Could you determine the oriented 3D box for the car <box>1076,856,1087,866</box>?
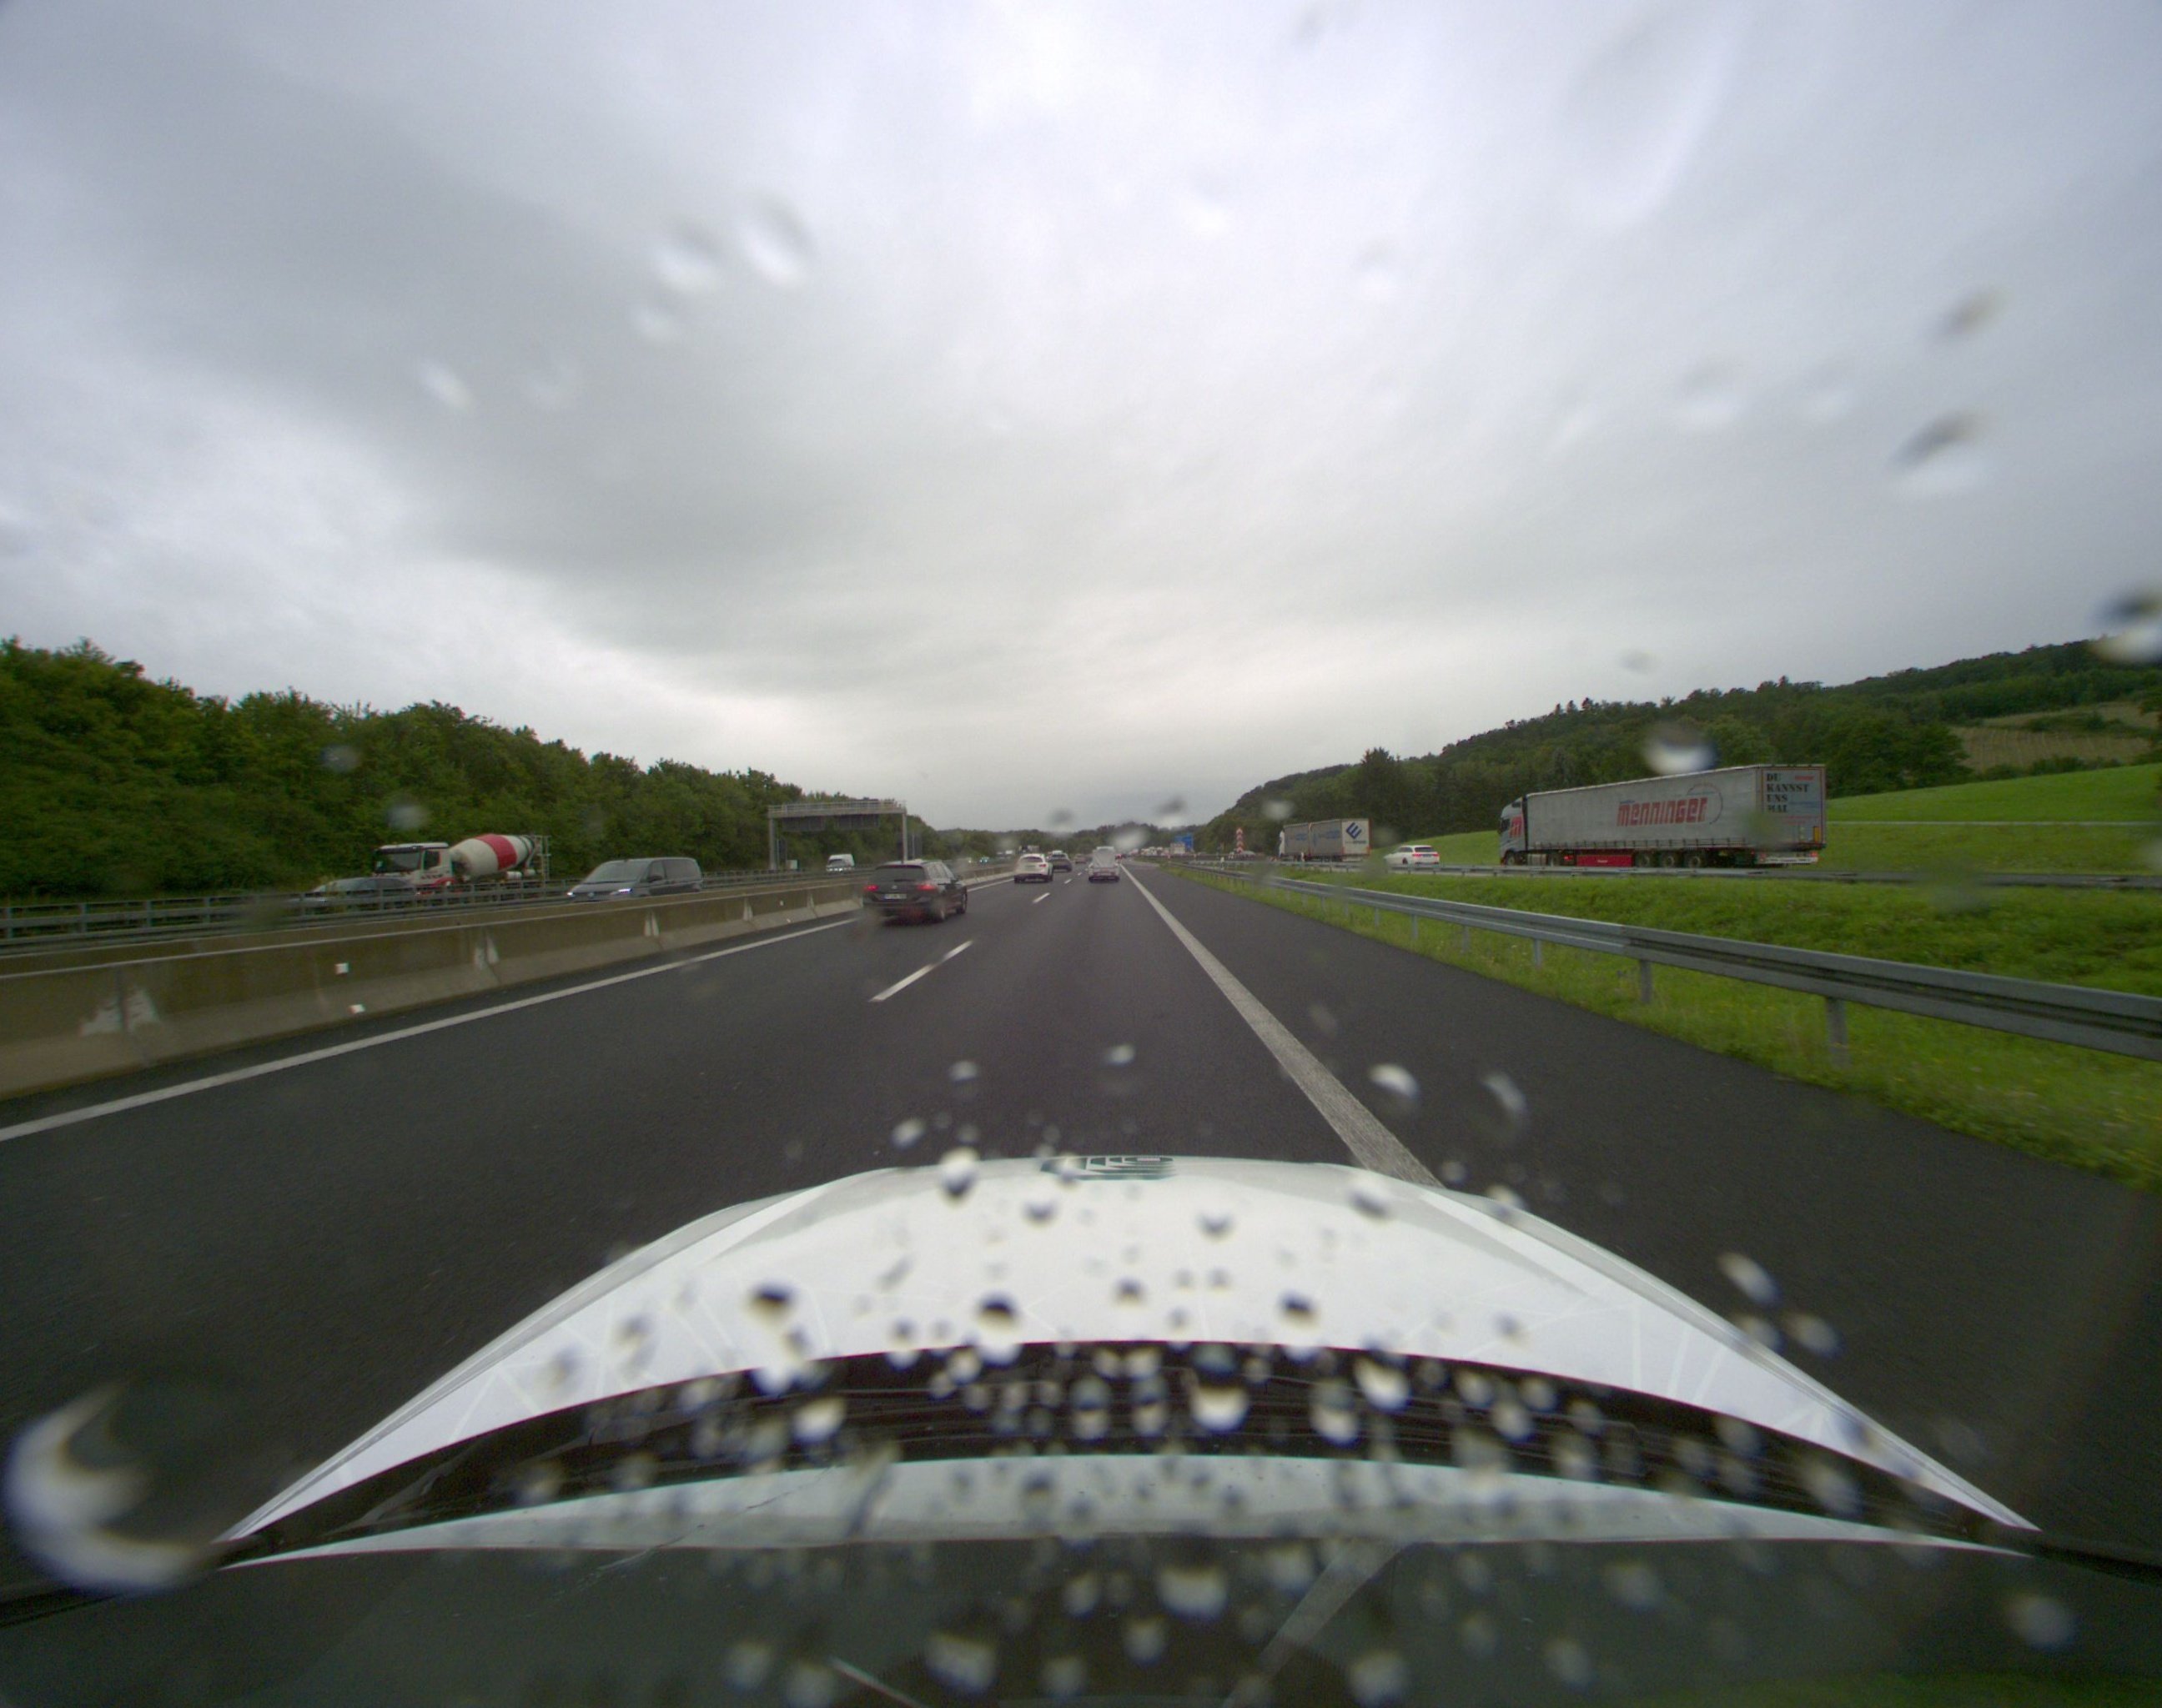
[{"bbox_3d":[0.075,1.174,137.996,1.732,1.794,4.002,-1,0,2],"label":"car"}]

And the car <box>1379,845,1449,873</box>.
[{"bbox_3d":[20.646,0.315,50.760,1.990,1.616,5.071,-2,0,-4],"label":"car"}]

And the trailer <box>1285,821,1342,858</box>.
[{"bbox_3d":[23.395,-1.397,82.531,2.932,3.527,8.408,0,0,-4],"label":"trailer"}]

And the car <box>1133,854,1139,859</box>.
[{"bbox_3d":[16.106,0.669,237.911,1.639,1.574,4.002,0,0,2],"label":"car"}]

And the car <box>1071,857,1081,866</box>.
[{"bbox_3d":[-0.948,1.490,168.036,1.812,1.662,4.019,-2,0,2],"label":"car"}]

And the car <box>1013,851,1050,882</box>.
[{"bbox_3d":[-2.836,0.670,47.087,2.044,1.670,4.536,-1,0,-3],"label":"car"}]

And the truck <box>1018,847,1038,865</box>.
[{"bbox_3d":[-10.840,0.482,167.095,2.797,3.524,10.648,0,0,3],"label":"truck"}]

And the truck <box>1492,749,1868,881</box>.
[{"bbox_3d":[25.279,-1.327,36.963,3.812,4.540,16.864,-1,0,-3],"label":"truck"}]

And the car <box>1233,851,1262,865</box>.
[{"bbox_3d":[18.896,0.438,92.771,1.981,1.377,5.314,-1,1,-3],"label":"car"}]

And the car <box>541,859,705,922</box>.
[{"bbox_3d":[-13.401,0.984,24.284,1.986,1.650,5.027,0,0,1],"label":"car"}]

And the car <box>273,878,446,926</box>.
[{"bbox_3d":[-26.114,1.684,29.744,1.985,1.407,4.679,-2,0,3],"label":"car"}]

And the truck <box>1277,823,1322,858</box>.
[{"bbox_3d":[23.157,-1.392,86.591,2.931,3.527,5.920,0,0,-3],"label":"truck"}]

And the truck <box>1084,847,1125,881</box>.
[{"bbox_3d":[1.346,0.539,47.380,2.234,1.839,6.586,0,0,1],"label":"truck"}]

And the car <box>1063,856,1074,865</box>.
[{"bbox_3d":[-2.313,1.167,155.486,1.812,1.662,4.019,-2,0,2],"label":"car"}]

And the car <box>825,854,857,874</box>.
[{"bbox_3d":[-28.985,1.165,98.420,1.986,2.213,5.717,-2,0,2],"label":"car"}]

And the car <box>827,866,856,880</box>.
[{"bbox_3d":[-25.027,1.990,85.218,1.583,1.425,3.921,-1,0,3],"label":"car"}]

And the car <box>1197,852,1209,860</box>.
[{"bbox_3d":[21.362,0.399,143.215,1.691,1.288,3.536,0,0,2],"label":"car"}]

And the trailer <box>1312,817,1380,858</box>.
[{"bbox_3d":[23.983,-1.430,74.314,3.073,3.527,8.071,0,0,-5],"label":"trailer"}]

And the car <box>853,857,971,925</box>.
[{"bbox_3d":[-4.021,0.827,20.246,1.781,1.459,4.804,-1,0,2],"label":"car"}]

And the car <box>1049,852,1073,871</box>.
[{"bbox_3d":[-1.798,0.637,74.533,1.968,1.703,4.804,-1,0,2],"label":"car"}]

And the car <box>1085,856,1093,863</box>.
[{"bbox_3d":[1.806,1.154,179.059,1.639,1.574,4.002,0,0,2],"label":"car"}]

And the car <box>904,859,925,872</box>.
[{"bbox_3d":[-24.388,1.725,119.712,1.986,1.737,4.583,-2,0,1],"label":"car"}]

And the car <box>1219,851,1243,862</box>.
[{"bbox_3d":[21.090,0.376,114.481,1.983,1.377,5.068,-2,0,-6],"label":"car"}]

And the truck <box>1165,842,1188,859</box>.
[{"bbox_3d":[20.855,-0.717,178.685,3.815,3.659,8.266,0,0,-2],"label":"truck"}]

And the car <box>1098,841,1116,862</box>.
[{"bbox_3d":[3.498,-0.390,110.908,2.324,2.725,6.539,-1,0,0],"label":"car"}]

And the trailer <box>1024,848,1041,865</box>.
[{"bbox_3d":[-10.535,0.524,176.513,2.932,3.516,8.053,0,0,1],"label":"trailer"}]

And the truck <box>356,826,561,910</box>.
[{"bbox_3d":[-30.693,0.626,40.910,2.675,3.661,9.560,-2,0,1],"label":"truck"}]
